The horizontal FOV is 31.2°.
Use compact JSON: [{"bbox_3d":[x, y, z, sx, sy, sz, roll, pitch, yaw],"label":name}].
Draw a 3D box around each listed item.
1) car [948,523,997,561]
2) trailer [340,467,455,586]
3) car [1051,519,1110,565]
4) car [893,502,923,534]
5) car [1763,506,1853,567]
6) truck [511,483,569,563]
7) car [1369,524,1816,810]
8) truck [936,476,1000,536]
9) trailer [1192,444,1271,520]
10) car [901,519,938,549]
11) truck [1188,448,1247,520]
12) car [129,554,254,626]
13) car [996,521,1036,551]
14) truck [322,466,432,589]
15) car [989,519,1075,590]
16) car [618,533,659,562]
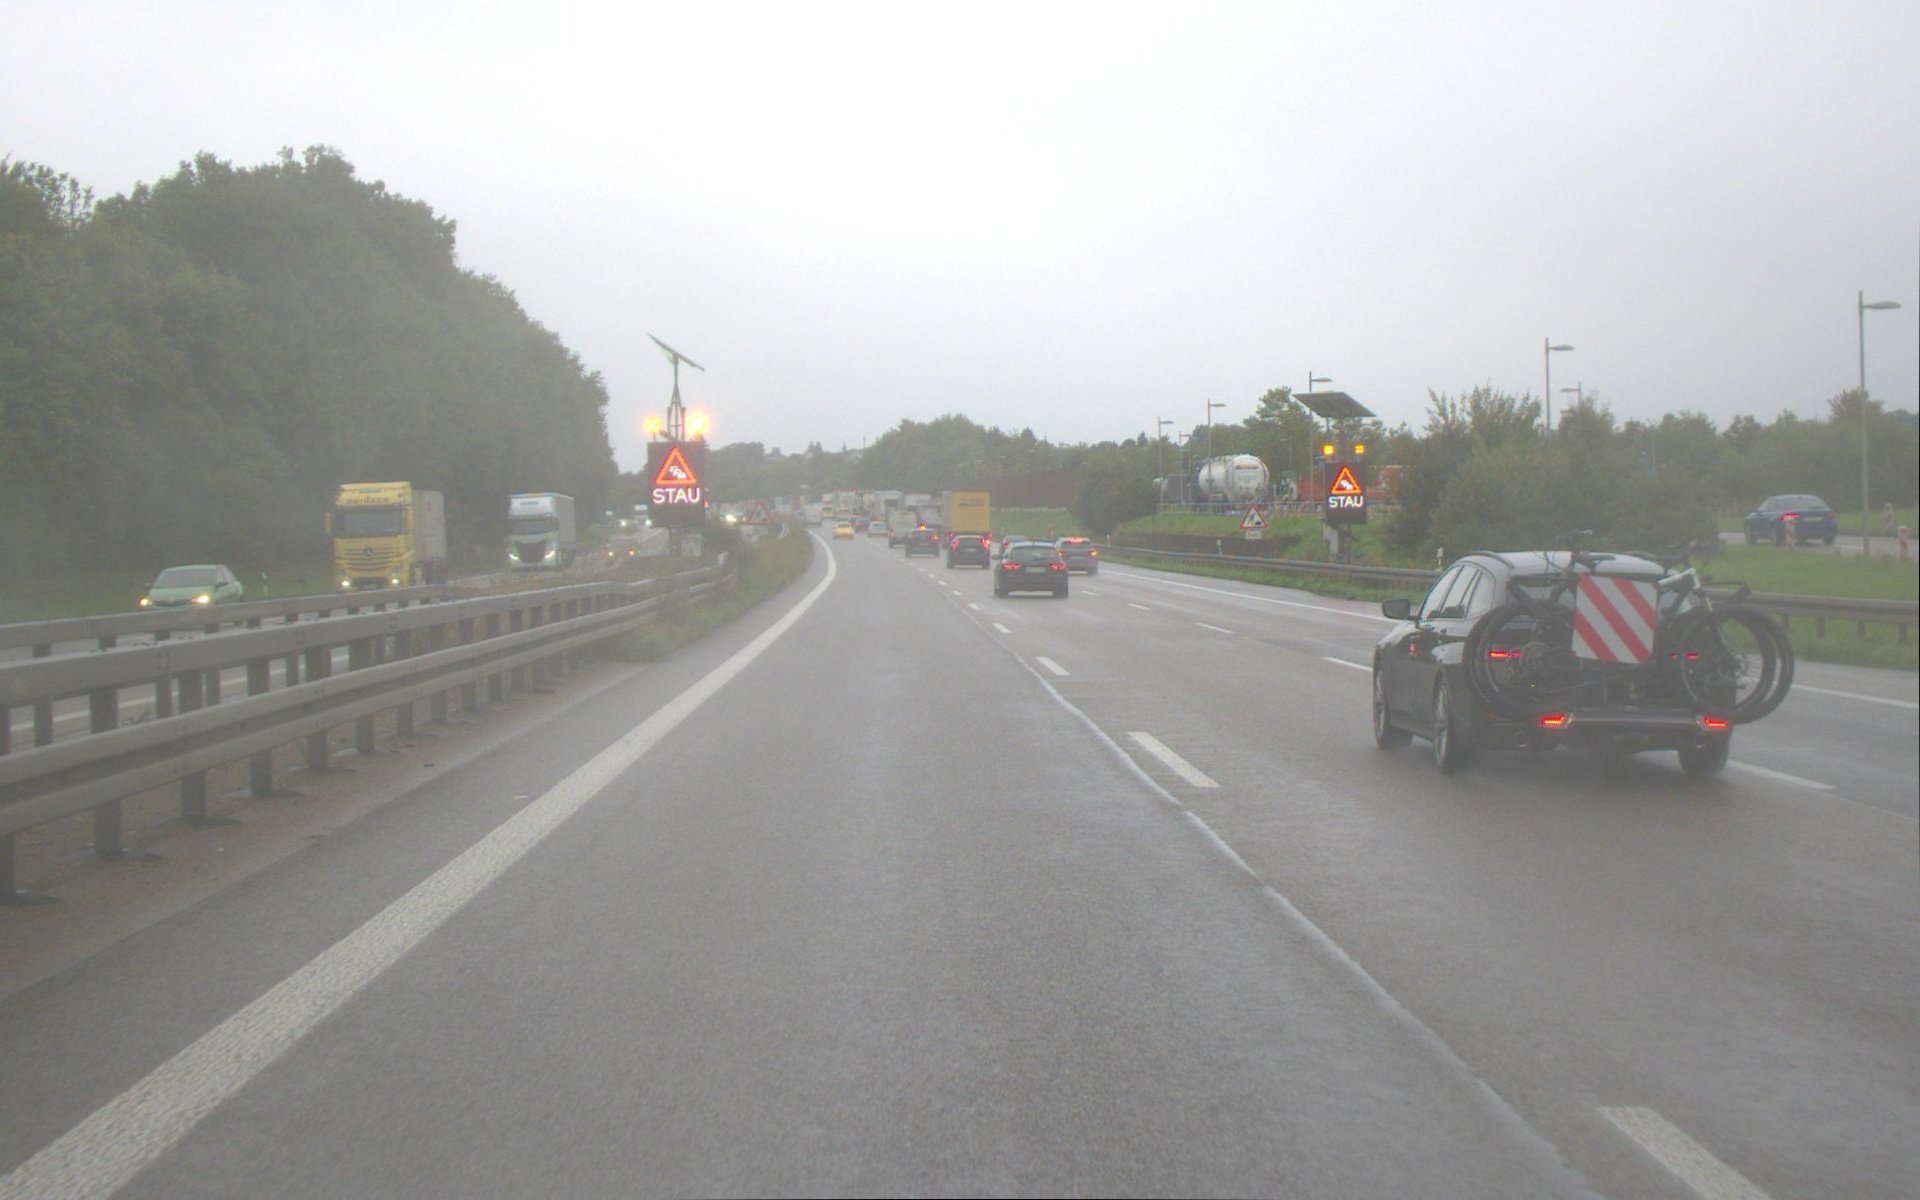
[{"bbox_3d":[0.539,-2.586,152.060,1.993,1.623,4.001,-1,1,-2],"label":"car"},{"bbox_3d":[-20.431,-2.690,125.414,2.762,4.041,9.202,-3,1,-2],"label":"trailer"},{"bbox_3d":[4.655,-2.262,133.384,1.993,1.755,4.001,0,1,-2],"label":"car"},{"bbox_3d":[-3.760,-5.916,247.857,1.993,2.197,4.001,-1,1,-2],"label":"car"},{"bbox_3d":[24.751,-1.851,100.440,1.922,1.703,4.000,-1,1,5],"label":"car"},{"bbox_3d":[-22.751,-4.168,186.190,2.643,4.222,4.001,-1,1,-1],"label":"truck"},{"bbox_3d":[4.036,0.375,22.915,2.058,1.665,5.522,0,0,1],"label":"car"},{"bbox_3d":[0.506,-6.507,238.798,3.924,3.967,12.241,-1,1,-2],"label":"truck"},{"bbox_3d":[15.426,-6.671,196.110,2.985,4.142,12.958,-1,1,-2],"label":"trailer"},{"bbox_3d":[-2.302,-3.772,196.286,1.993,1.623,4.001,-1,1,-2],"label":"car"},{"bbox_3d":[15.212,-6.818,203.355,2.949,4.131,4.923,-1,1,-1],"label":"truck"},{"bbox_3d":[-17.431,-0.252,78.160,1.874,1.488,4.514,-2,1,-1],"label":"car"},{"bbox_3d":[3.134,-3.622,192.906,1.993,1.623,4.001,-1,1,-2],"label":"car"},{"bbox_3d":[-20.268,-2.532,119.870,2.762,4.041,6.158,-3,1,-2],"label":"truck"},{"bbox_3d":[1.841,-1.196,89.031,1.993,1.755,4.001,-1,1,-2],"label":"car"},{"bbox_3d":[-17.611,-2.896,188.353,1.874,1.488,4.514,-2,1,-1],"label":"car"}]
